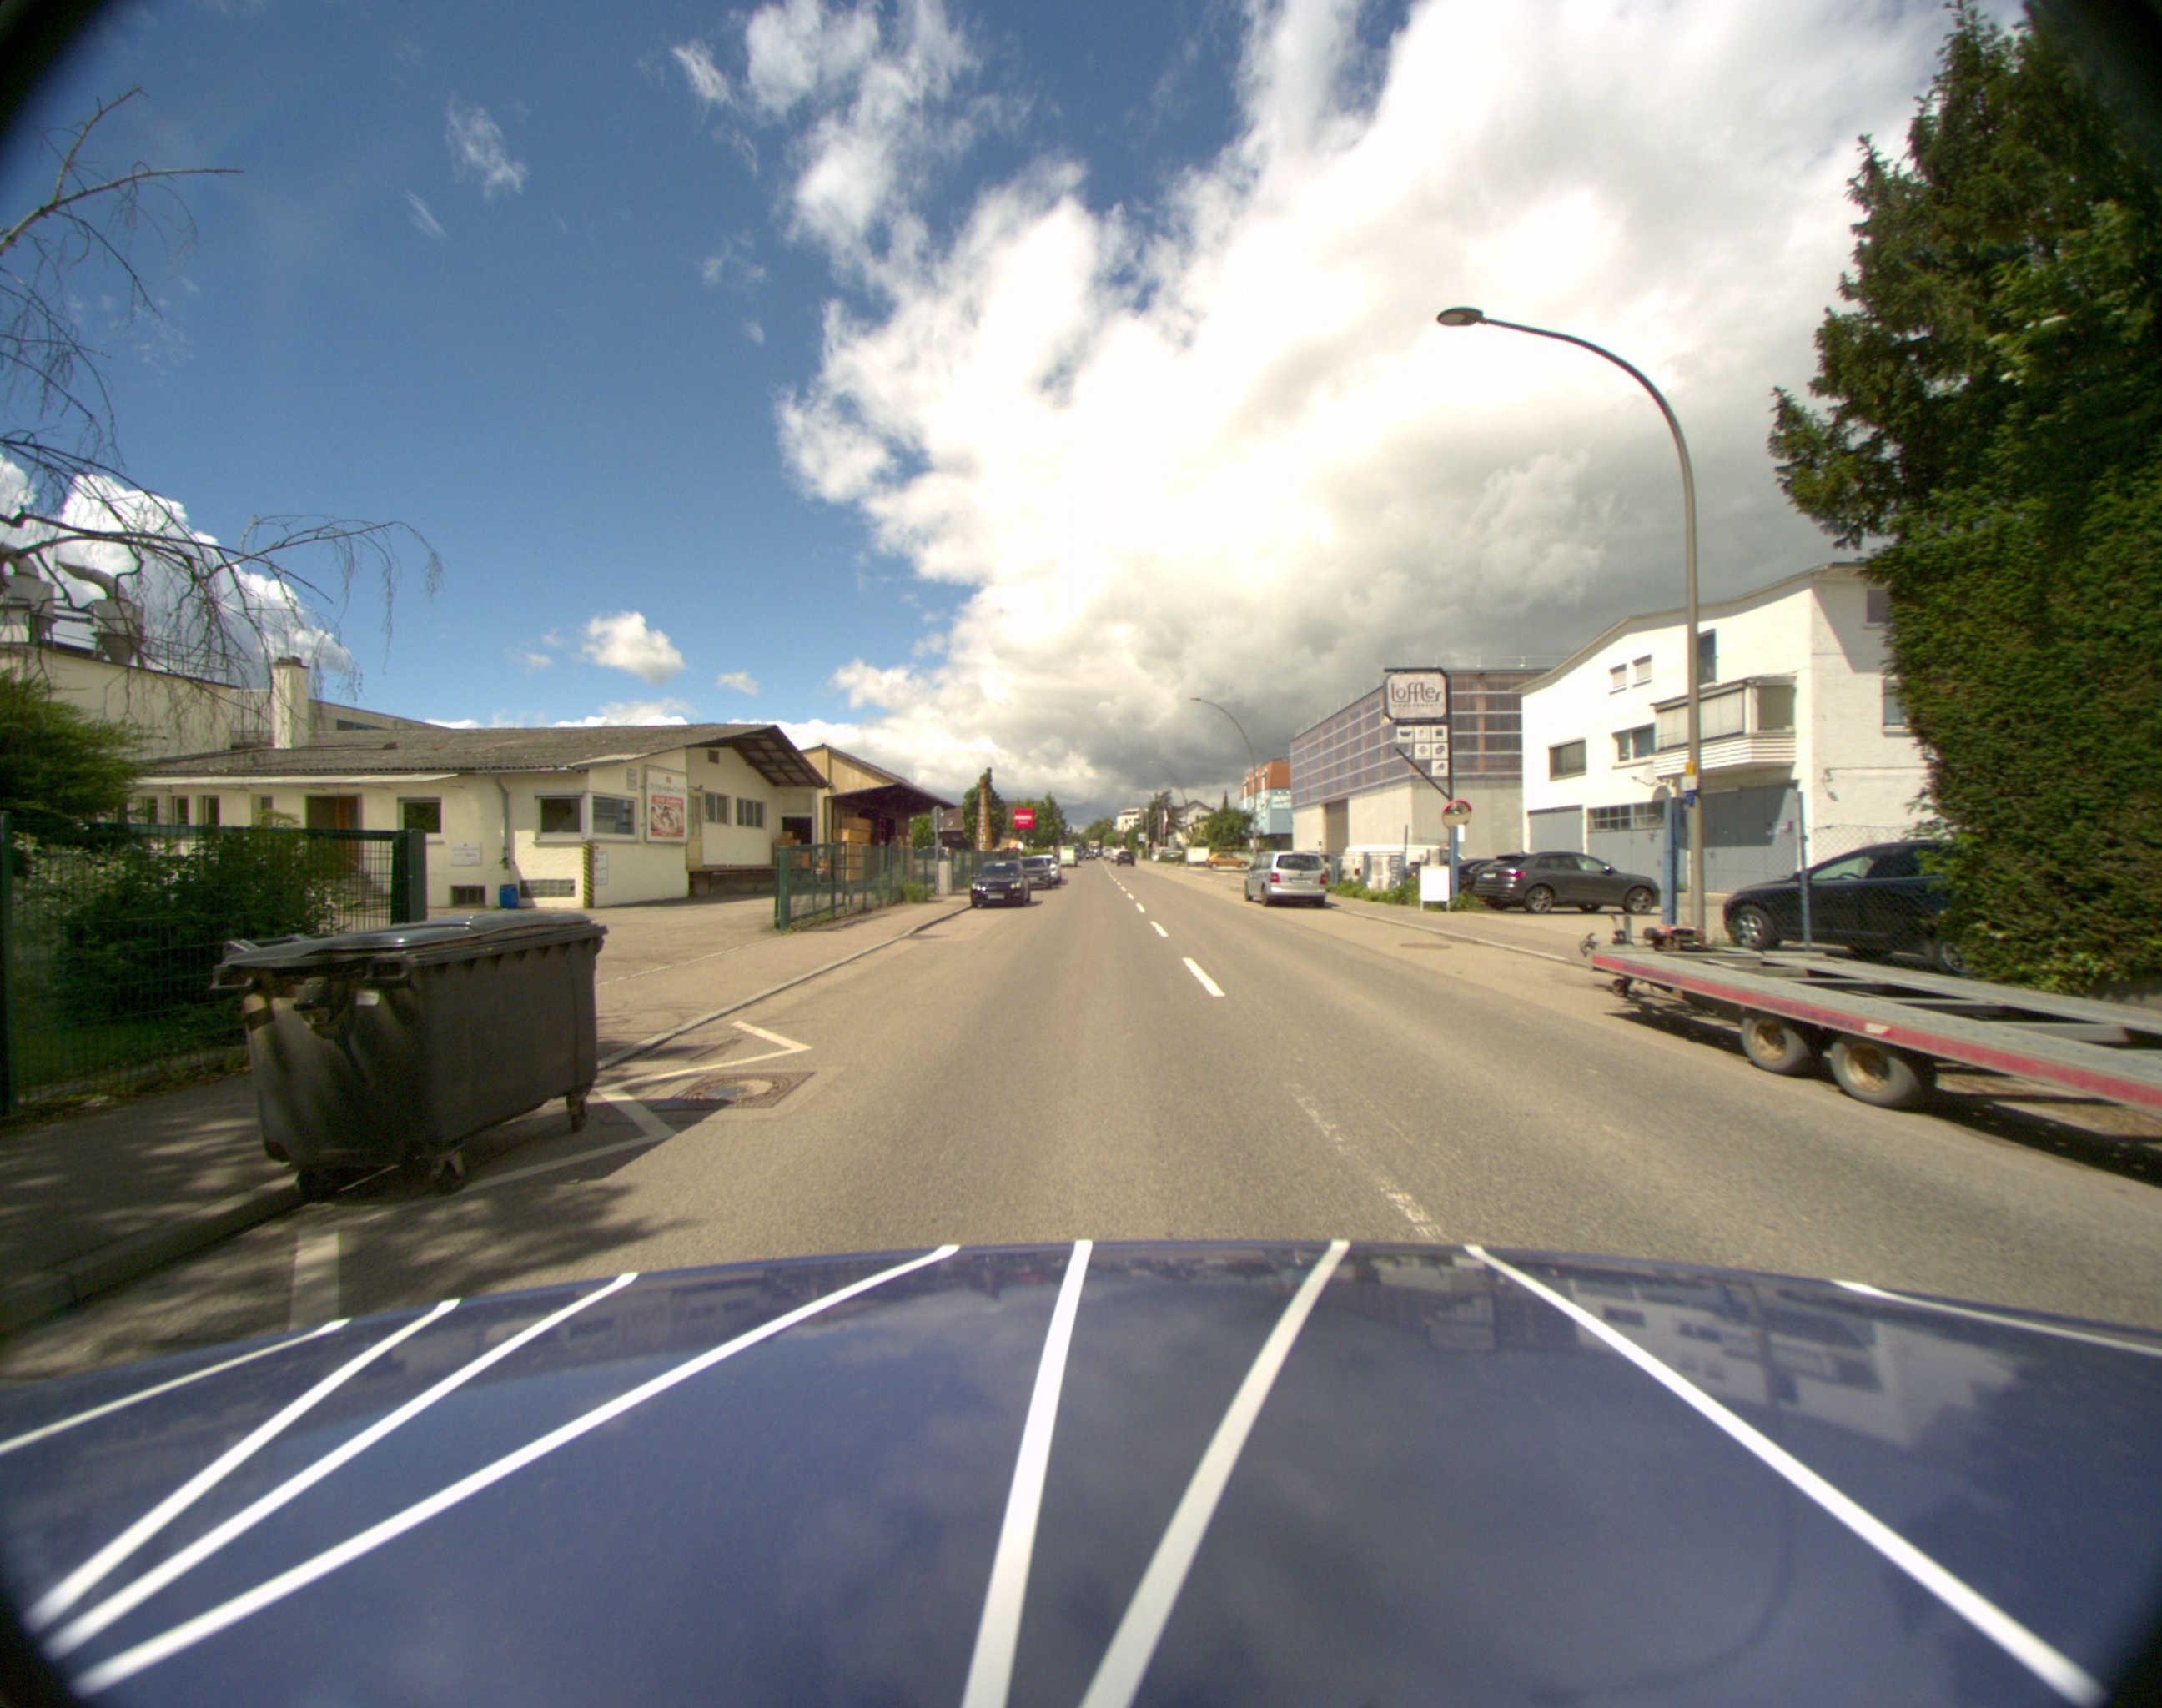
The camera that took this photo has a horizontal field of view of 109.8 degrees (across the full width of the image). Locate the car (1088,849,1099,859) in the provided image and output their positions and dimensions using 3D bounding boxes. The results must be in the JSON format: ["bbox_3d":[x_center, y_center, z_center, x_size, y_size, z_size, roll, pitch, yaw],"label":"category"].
[{"bbox_3d":[2.223,0.038,136.077,1.998,1.802,4.000,-1,0,1],"label":"car"}]

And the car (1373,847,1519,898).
[{"bbox_3d":[12.310,0.607,25.845,3.997,1.660,2.000,0,1,0],"label":"car"}]

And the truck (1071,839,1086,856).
[{"bbox_3d":[-0.401,-1.155,134.747,2.410,2.722,6.640,-2,1,1],"label":"truck"}]

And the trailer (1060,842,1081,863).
[{"bbox_3d":[-1.081,-0.120,83.134,2.044,2.214,5.079,0,0,2],"label":"trailer"}]

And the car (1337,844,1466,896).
[{"bbox_3d":[11.972,0.584,28.563,3.996,1.866,2.000,0,1,1],"label":"car"}]

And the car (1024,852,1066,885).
[{"bbox_3d":[-1.902,0.762,41.421,1.835,1.608,4.000,-3,0,2],"label":"car"}]

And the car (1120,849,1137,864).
[{"bbox_3d":[5.394,0.243,86.424,1.859,1.686,4.001,-1,0,4],"label":"car"}]

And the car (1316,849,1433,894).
[{"bbox_3d":[11.935,0.680,31.098,3.996,1.739,2.000,0,1,1],"label":"car"}]

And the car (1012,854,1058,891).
[{"bbox_3d":[-2.140,0.833,36.634,1.811,1.566,4.188,-3,0,1],"label":"car"}]

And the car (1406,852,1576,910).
[{"bbox_3d":[12.340,0.777,23.071,3.998,1.660,2.103,0,1,-2],"label":"car"}]

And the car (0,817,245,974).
[{"bbox_3d":[-14.744,0.490,10.291,4.921,1.876,2.001,0,0,4],"label":"car"}]

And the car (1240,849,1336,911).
[{"bbox_3d":[6.179,0.711,23.136,1.809,1.666,4.127,2,0,1],"label":"car"}]

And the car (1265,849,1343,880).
[{"bbox_3d":[13.057,0.607,44.606,3.996,1.727,2.000,0,2,1],"label":"car"}]

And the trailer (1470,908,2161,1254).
[{"bbox_3d":[5.667,1.169,5.164,2.324,0.985,7.459,1,0,1],"label":"trailer"}]

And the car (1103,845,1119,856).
[{"bbox_3d":[5.259,-0.612,134.781,2.385,2.002,6.383,0,0,-2],"label":"car"}]

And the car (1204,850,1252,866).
[{"bbox_3d":[13.421,0.349,69.464,4.046,1.485,1.675,0,1,0],"label":"car"}]

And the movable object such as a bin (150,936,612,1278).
[{"bbox_3d":[-3.443,1.154,3.947,1.115,1.283,1.358,0,1,5],"label":"movable object such as a bin"}]

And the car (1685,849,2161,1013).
[{"bbox_3d":[10.658,0.782,9.974,1.812,1.625,4.632,1,0,1],"label":"car"}]

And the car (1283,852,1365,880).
[{"bbox_3d":[13.353,0.683,41.907,3.955,1.492,1.777,0,0,-1],"label":"car"}]

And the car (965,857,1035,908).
[{"bbox_3d":[-2.544,0.865,24.798,1.759,1.455,4.000,-1,0,1],"label":"car"}]

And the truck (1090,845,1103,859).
[{"bbox_3d":[3.839,-0.599,185.990,2.880,3.290,8.607,-2,1,1],"label":"truck"}]

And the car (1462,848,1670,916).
[{"bbox_3d":[12.485,0.684,19.764,4.169,1.660,1.999,0,1,-2],"label":"car"}]

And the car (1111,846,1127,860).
[{"bbox_3d":[5.349,-0.121,106.618,1.999,1.853,3.835,0,0,-1],"label":"car"}]

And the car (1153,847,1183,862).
[{"bbox_3d":[12.098,0.103,105.742,3.995,2.002,2.001,0,1,6],"label":"car"}]
